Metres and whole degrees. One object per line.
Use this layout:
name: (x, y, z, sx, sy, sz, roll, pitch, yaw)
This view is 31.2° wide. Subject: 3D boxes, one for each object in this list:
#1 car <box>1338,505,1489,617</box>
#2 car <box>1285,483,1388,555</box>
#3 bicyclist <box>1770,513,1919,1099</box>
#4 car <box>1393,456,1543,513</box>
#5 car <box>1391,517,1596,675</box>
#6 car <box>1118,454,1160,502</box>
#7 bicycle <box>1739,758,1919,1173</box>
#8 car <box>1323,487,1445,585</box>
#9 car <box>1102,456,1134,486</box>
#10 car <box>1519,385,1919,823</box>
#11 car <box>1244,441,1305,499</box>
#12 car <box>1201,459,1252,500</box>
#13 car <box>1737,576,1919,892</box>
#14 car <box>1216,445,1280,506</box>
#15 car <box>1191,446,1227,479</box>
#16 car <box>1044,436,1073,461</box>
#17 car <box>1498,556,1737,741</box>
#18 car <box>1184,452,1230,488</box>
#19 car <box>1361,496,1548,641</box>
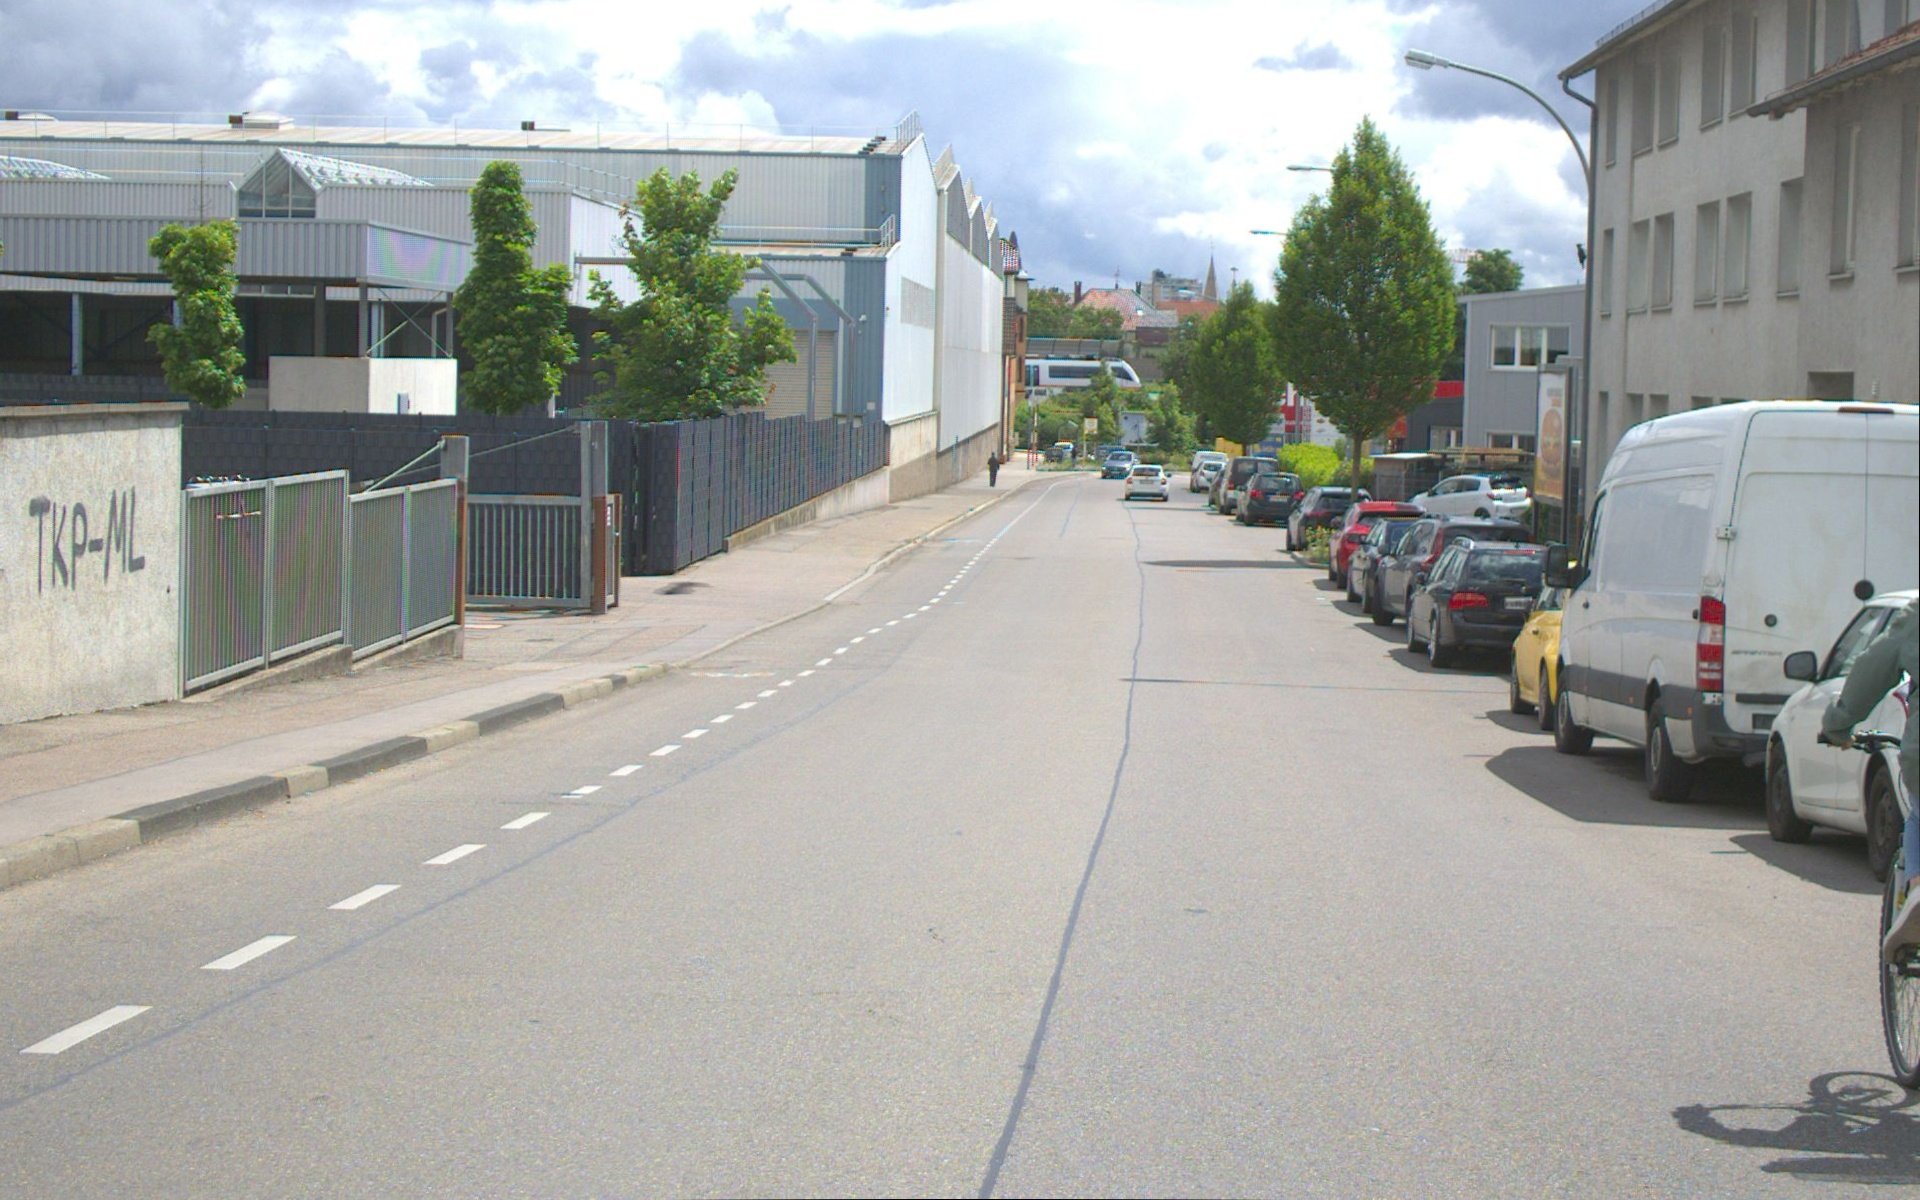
car: (6.826, -0.633, 52.161, 1.735, 1.418, 4.861, 2, 3, 2)
car: (8.136, -1.792, 74.668, 1.791, 1.460, 4.708, 1, 2, 1)
bicyclist: (2.811, 0.574, 9.909, 0.739, 1.621, 0.731, 2, 1, 0)
car: (13.973, -3.172, 94.723, 1.720, 1.457, 4.074, -4, 3, -36)
car: (6.277, -0.110, 40.973, 1.704, 1.504, 5.088, 3, 3, 2)
car: (7.159, -4.885, 137.689, 1.567, 1.780, 3.605, 2, 1, 2)
bicycle: (2.803, 1.004, 9.839, 0.740, 0.972, 1.732, 2, 1, 1)
car: (7.218, -1.126, 58.847, 1.735, 1.467, 4.261, 2, 3, 3)
car: (8.966, -7.312, 195.231, 1.719, 1.550, 4.288, -2, 1, 2)
car: (5.562, -0.013, 24.584, 2.033, 2.632, 7.283, 2, 1, 1)
car: (9.256, -3.830, 101.293, 1.679, 1.632, 4.122, 2, 2, 4)
car: (10.027, -4.567, 129.663, 1.714, 1.468, 4.511, 2, 2, 2)
car: (5.386, 0.654, 18.501, 1.593, 1.505, 3.790, 2, 1, 1)
car: (9.707, -4.218, 116.188, 1.869, 1.983, 5.144, 2, 2, 2)
car: (12.376, -6.843, 170.858, 1.701, 1.522, 3.738, -3, 2, 4)
car: (6.505, -10.046, 227.667, 1.853, 1.481, 4.000, 2, 1, 2)
car: (5.844, 0.384, 30.918, 1.593, 1.442, 3.790, 2, 2, 3)
car: (11.510, -6.087, 160.426, 1.701, 1.522, 3.739, 4, 3, -1)
car: (6.636, -0.471, 46.580, 1.676, 1.632, 4.797, 3, 3, -1)
